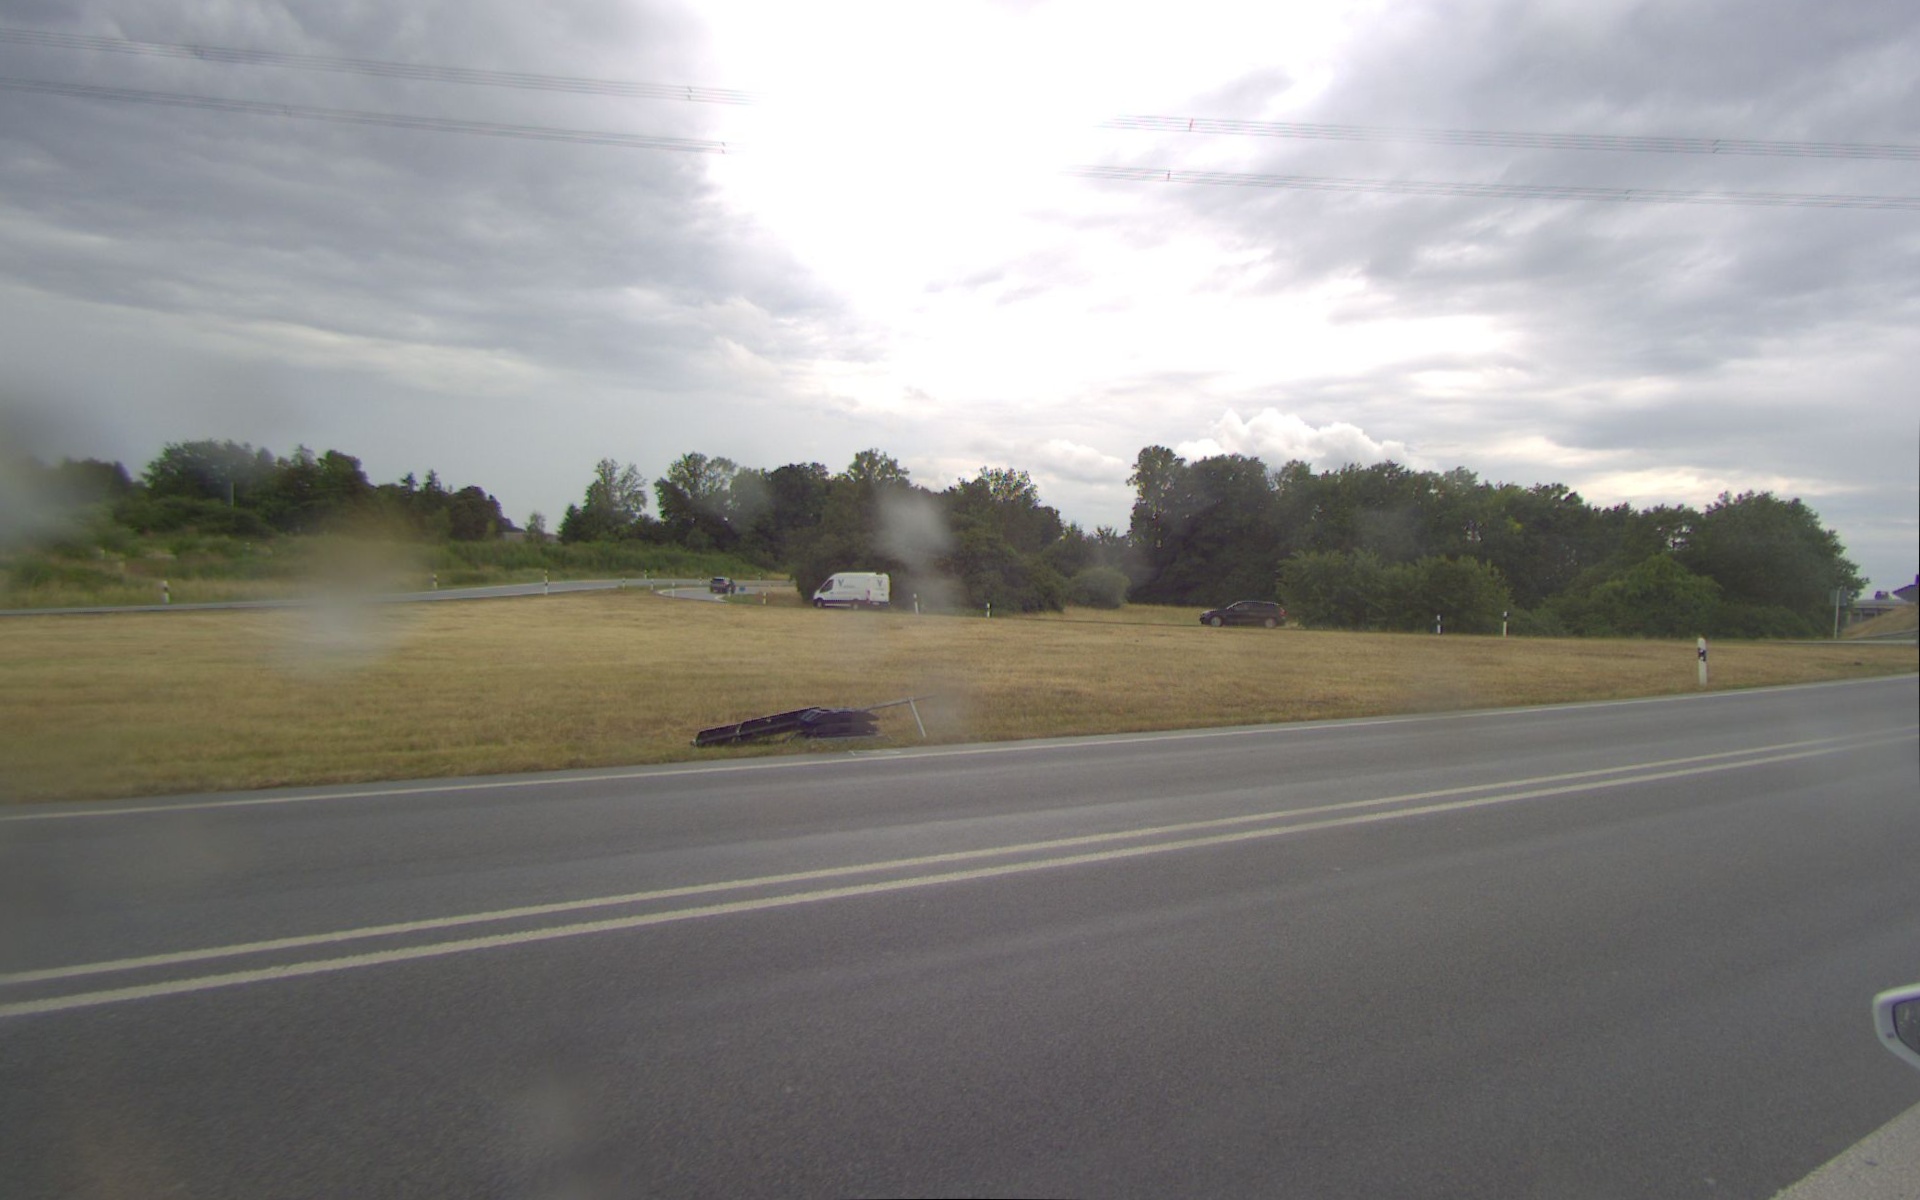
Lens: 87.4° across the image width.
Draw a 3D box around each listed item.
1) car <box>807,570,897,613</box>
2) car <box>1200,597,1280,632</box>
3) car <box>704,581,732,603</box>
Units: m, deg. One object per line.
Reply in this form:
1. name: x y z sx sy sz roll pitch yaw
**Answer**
1. car: -6.784 -0.568 62.937 5.384 2.422 2.432 3 0 39
2. car: 14.270 0.718 51.176 3.838 1.625 1.988 1 0 18
3. car: -25.834 -0.869 107.324 1.962 2.040 3.997 5 3 -3
